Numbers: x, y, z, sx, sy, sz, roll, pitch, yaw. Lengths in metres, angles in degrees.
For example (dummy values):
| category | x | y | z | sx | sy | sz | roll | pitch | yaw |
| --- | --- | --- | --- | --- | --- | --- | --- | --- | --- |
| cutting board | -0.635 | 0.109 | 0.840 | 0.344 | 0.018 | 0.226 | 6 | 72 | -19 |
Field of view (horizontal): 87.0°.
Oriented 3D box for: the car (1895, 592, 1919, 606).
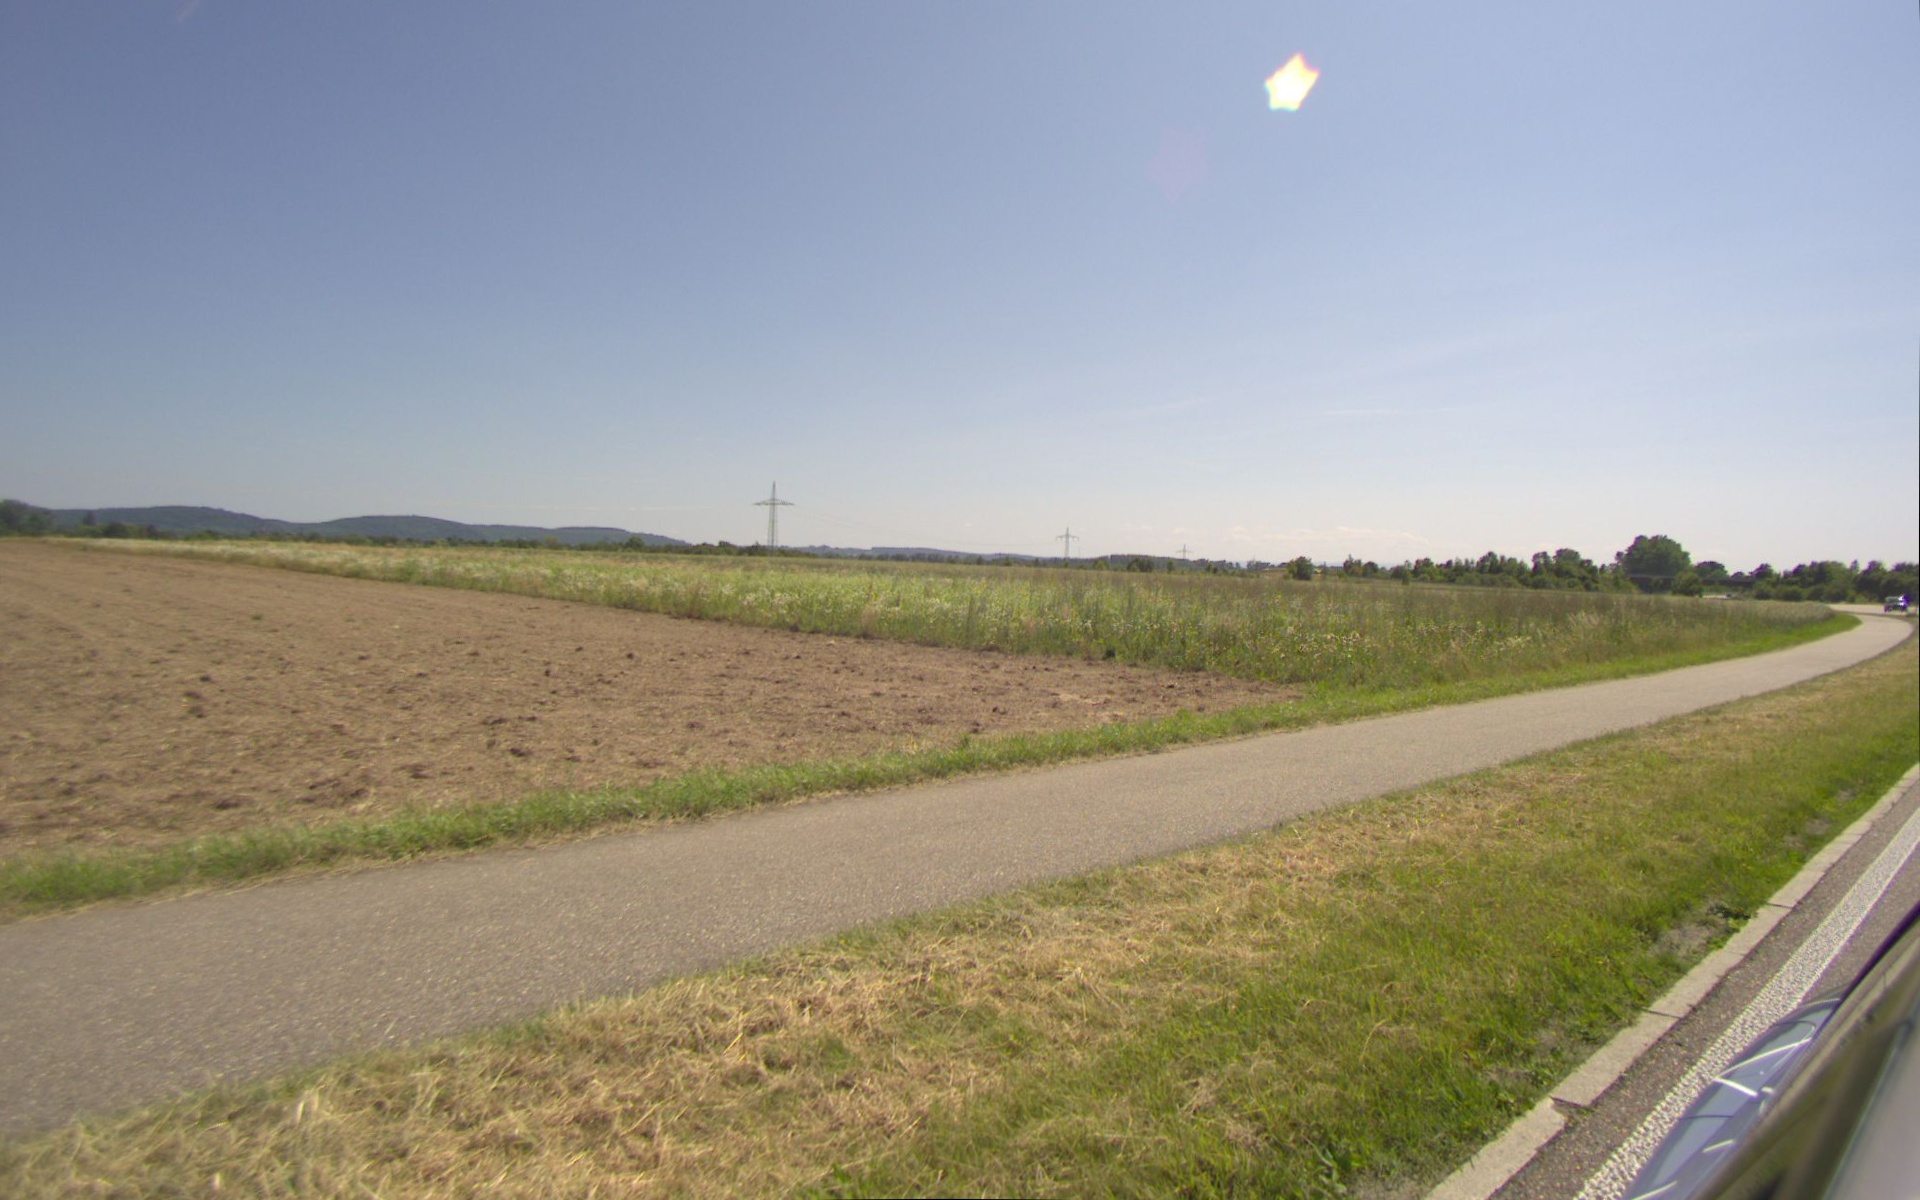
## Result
| category | x | y | z | sx | sy | sz | roll | pitch | yaw |
| --- | --- | --- | --- | --- | --- | --- | --- | --- | --- |
| car | 114.002 | -0.141 | 121.316 | 1.972 | 1.616 | 5.335 | 1 | 1 | 35 |
